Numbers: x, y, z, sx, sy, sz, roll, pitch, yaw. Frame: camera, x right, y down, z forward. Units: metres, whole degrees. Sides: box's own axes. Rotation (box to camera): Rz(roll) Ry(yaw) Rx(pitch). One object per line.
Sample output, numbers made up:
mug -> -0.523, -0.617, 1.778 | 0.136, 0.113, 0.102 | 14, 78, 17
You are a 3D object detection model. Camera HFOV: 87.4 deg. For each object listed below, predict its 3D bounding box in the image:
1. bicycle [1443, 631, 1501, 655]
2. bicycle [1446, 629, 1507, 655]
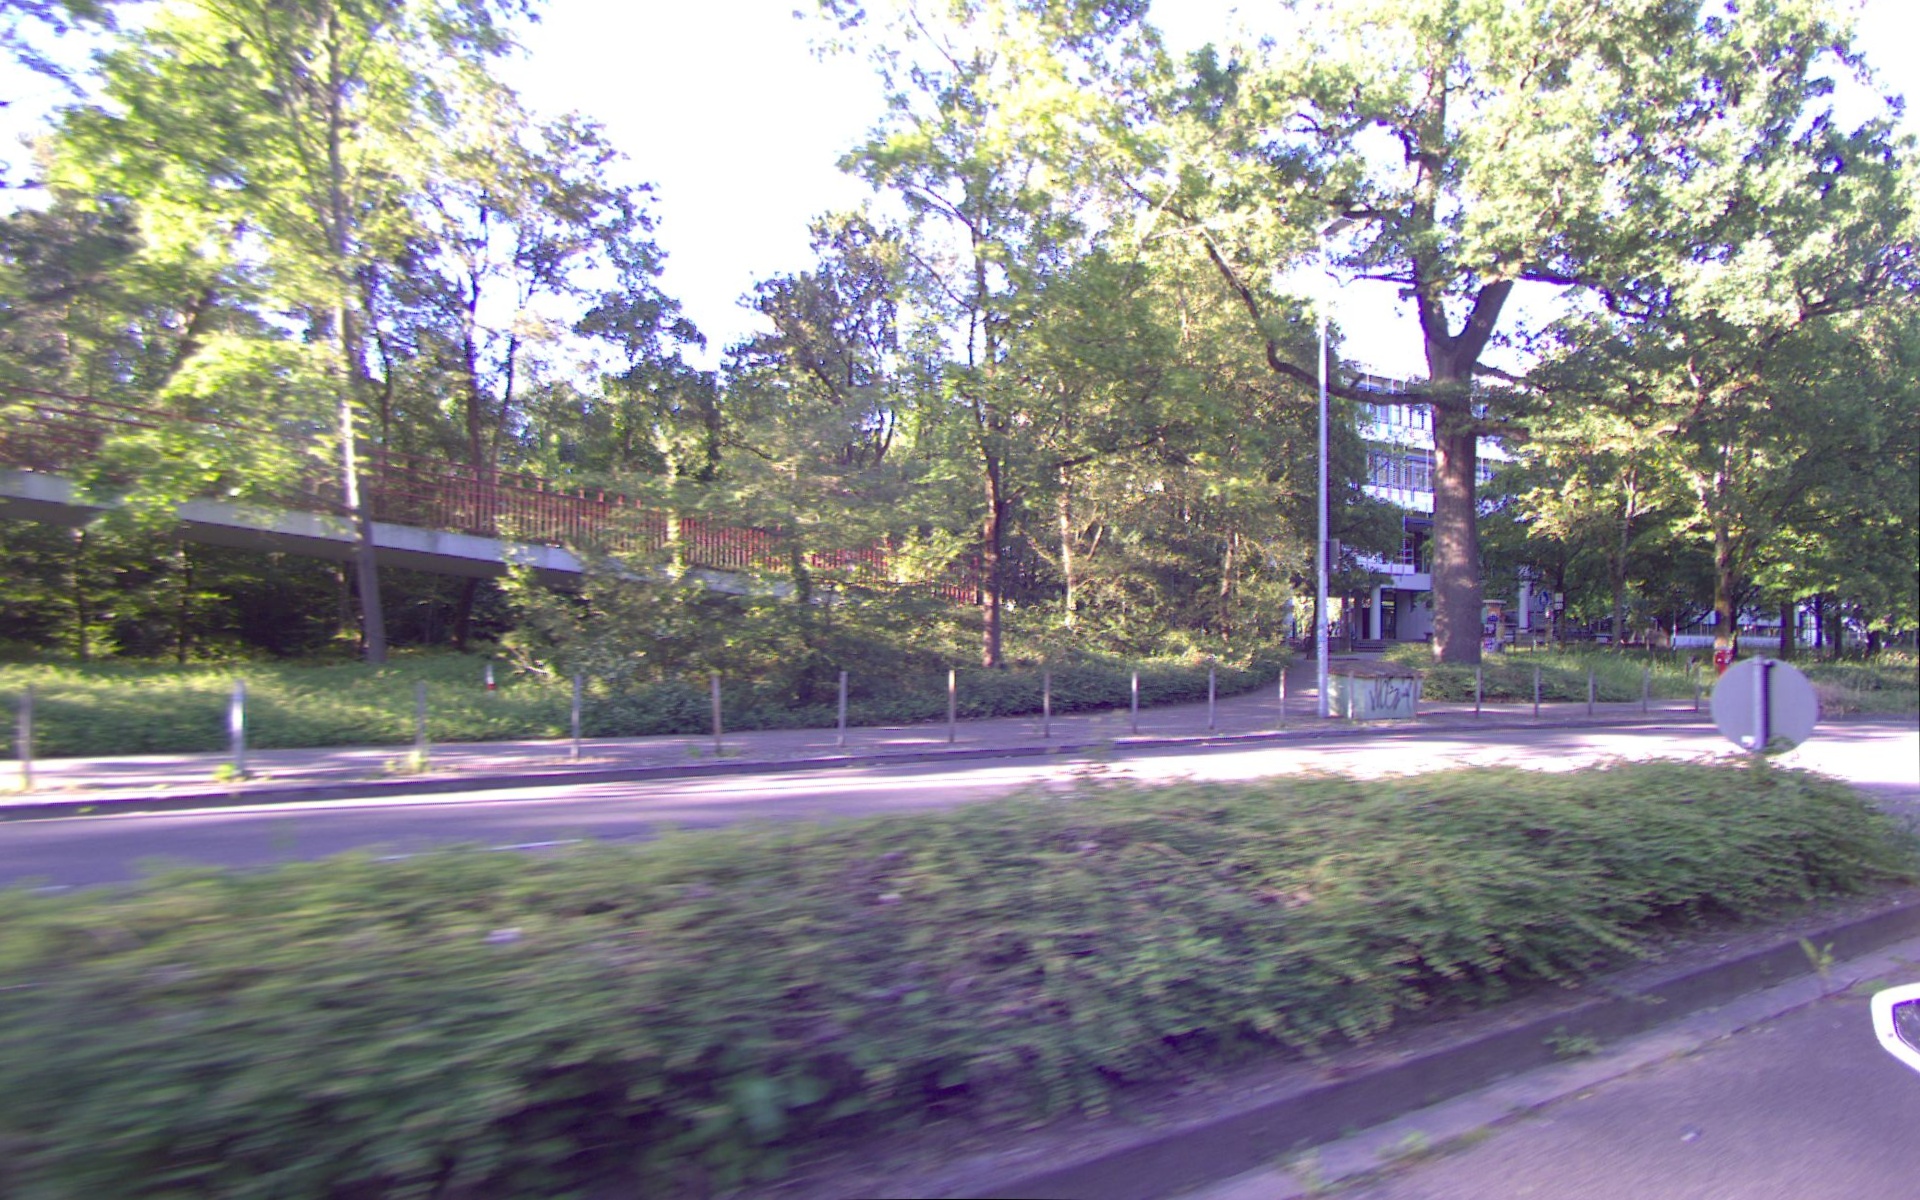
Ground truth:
bicycle -> 23.699, 1.988, 46.482 | 2.588, 1.086, 0.536 | 1, 3, -12
bicycle -> 23.118, 1.866, 44.987 | 2.380, 1.086, 0.537 | 1, 2, 10
